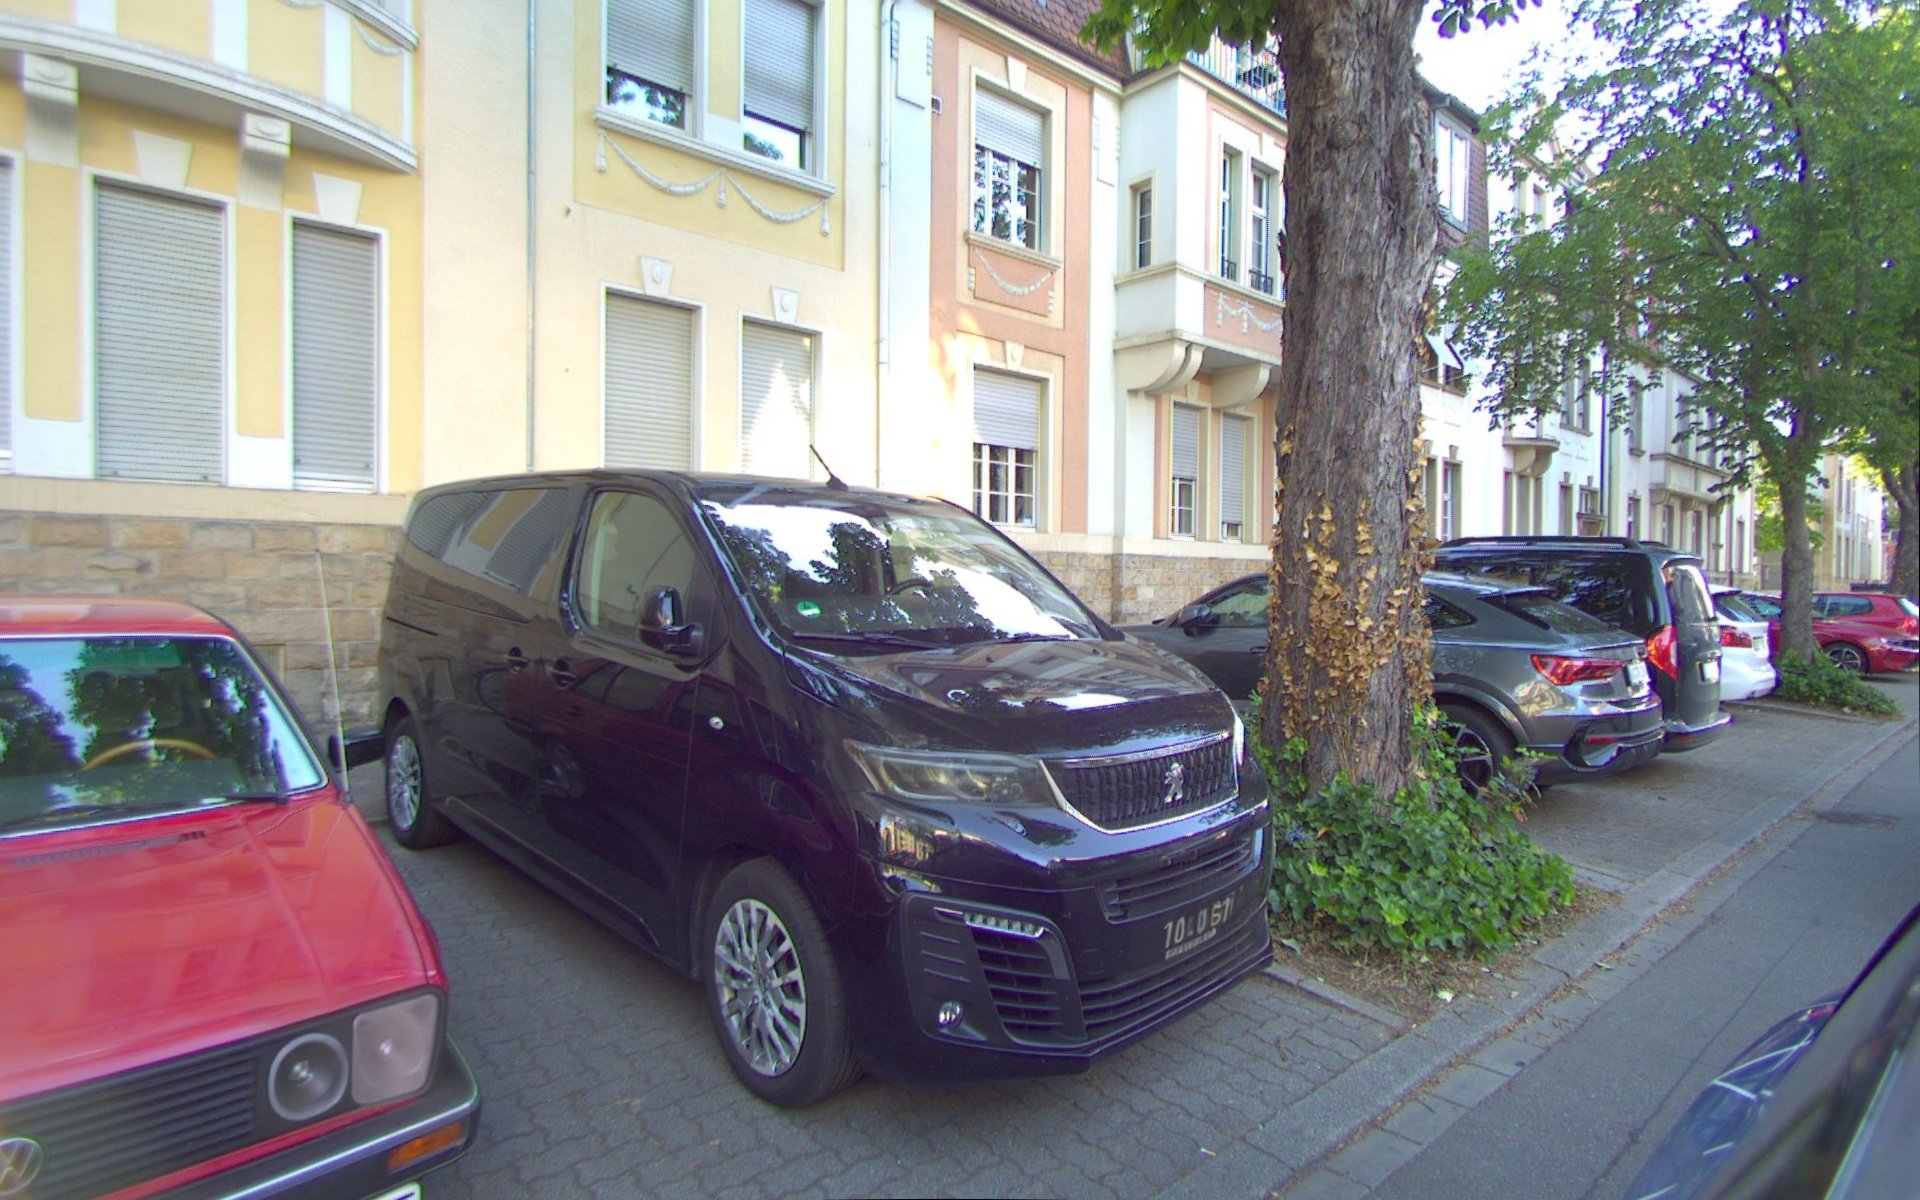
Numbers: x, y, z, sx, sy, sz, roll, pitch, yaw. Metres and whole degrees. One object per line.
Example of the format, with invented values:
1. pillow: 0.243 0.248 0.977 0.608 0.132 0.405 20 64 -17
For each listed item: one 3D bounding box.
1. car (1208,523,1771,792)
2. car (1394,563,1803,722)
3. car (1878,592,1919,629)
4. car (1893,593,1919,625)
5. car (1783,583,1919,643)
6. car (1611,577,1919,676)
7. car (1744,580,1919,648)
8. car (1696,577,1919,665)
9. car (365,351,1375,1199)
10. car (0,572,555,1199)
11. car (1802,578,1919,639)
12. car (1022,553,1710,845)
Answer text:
1. car: 4.529 0.306 9.150 1.814 1.860 4.116 -1 3 -42
2. car: 7.714 0.374 12.530 1.689 1.597 3.948 0 3 -41
3. car: 31.905 0.375 32.474 1.515 1.164 3.399 0 3 -39
4. car: 34.286 0.373 34.537 1.515 1.076 3.399 0 3 -39
5. car: 24.015 0.315 26.418 1.548 1.416 3.681 0 3 -39
6. car: 14.796 0.379 18.468 1.833 1.470 4.533 0 3 -38
7. car: 21.863 0.293 24.979 1.548 1.484 3.681 0 3 -39
8. car: 16.906 0.350 19.824 1.628 1.499 3.682 0 3 -38
9. car: -0.928 0.324 4.480 1.867 1.897 4.753 -1 3 -44
10. car: -2.863 0.627 3.039 1.603 1.332 4.139 -1 3 -44
11. car: 25.881 0.227 28.038 1.548 1.576 3.681 0 3 -39
12. car: 2.755 0.448 7.706 1.815 1.542 4.513 -1 3 -44
